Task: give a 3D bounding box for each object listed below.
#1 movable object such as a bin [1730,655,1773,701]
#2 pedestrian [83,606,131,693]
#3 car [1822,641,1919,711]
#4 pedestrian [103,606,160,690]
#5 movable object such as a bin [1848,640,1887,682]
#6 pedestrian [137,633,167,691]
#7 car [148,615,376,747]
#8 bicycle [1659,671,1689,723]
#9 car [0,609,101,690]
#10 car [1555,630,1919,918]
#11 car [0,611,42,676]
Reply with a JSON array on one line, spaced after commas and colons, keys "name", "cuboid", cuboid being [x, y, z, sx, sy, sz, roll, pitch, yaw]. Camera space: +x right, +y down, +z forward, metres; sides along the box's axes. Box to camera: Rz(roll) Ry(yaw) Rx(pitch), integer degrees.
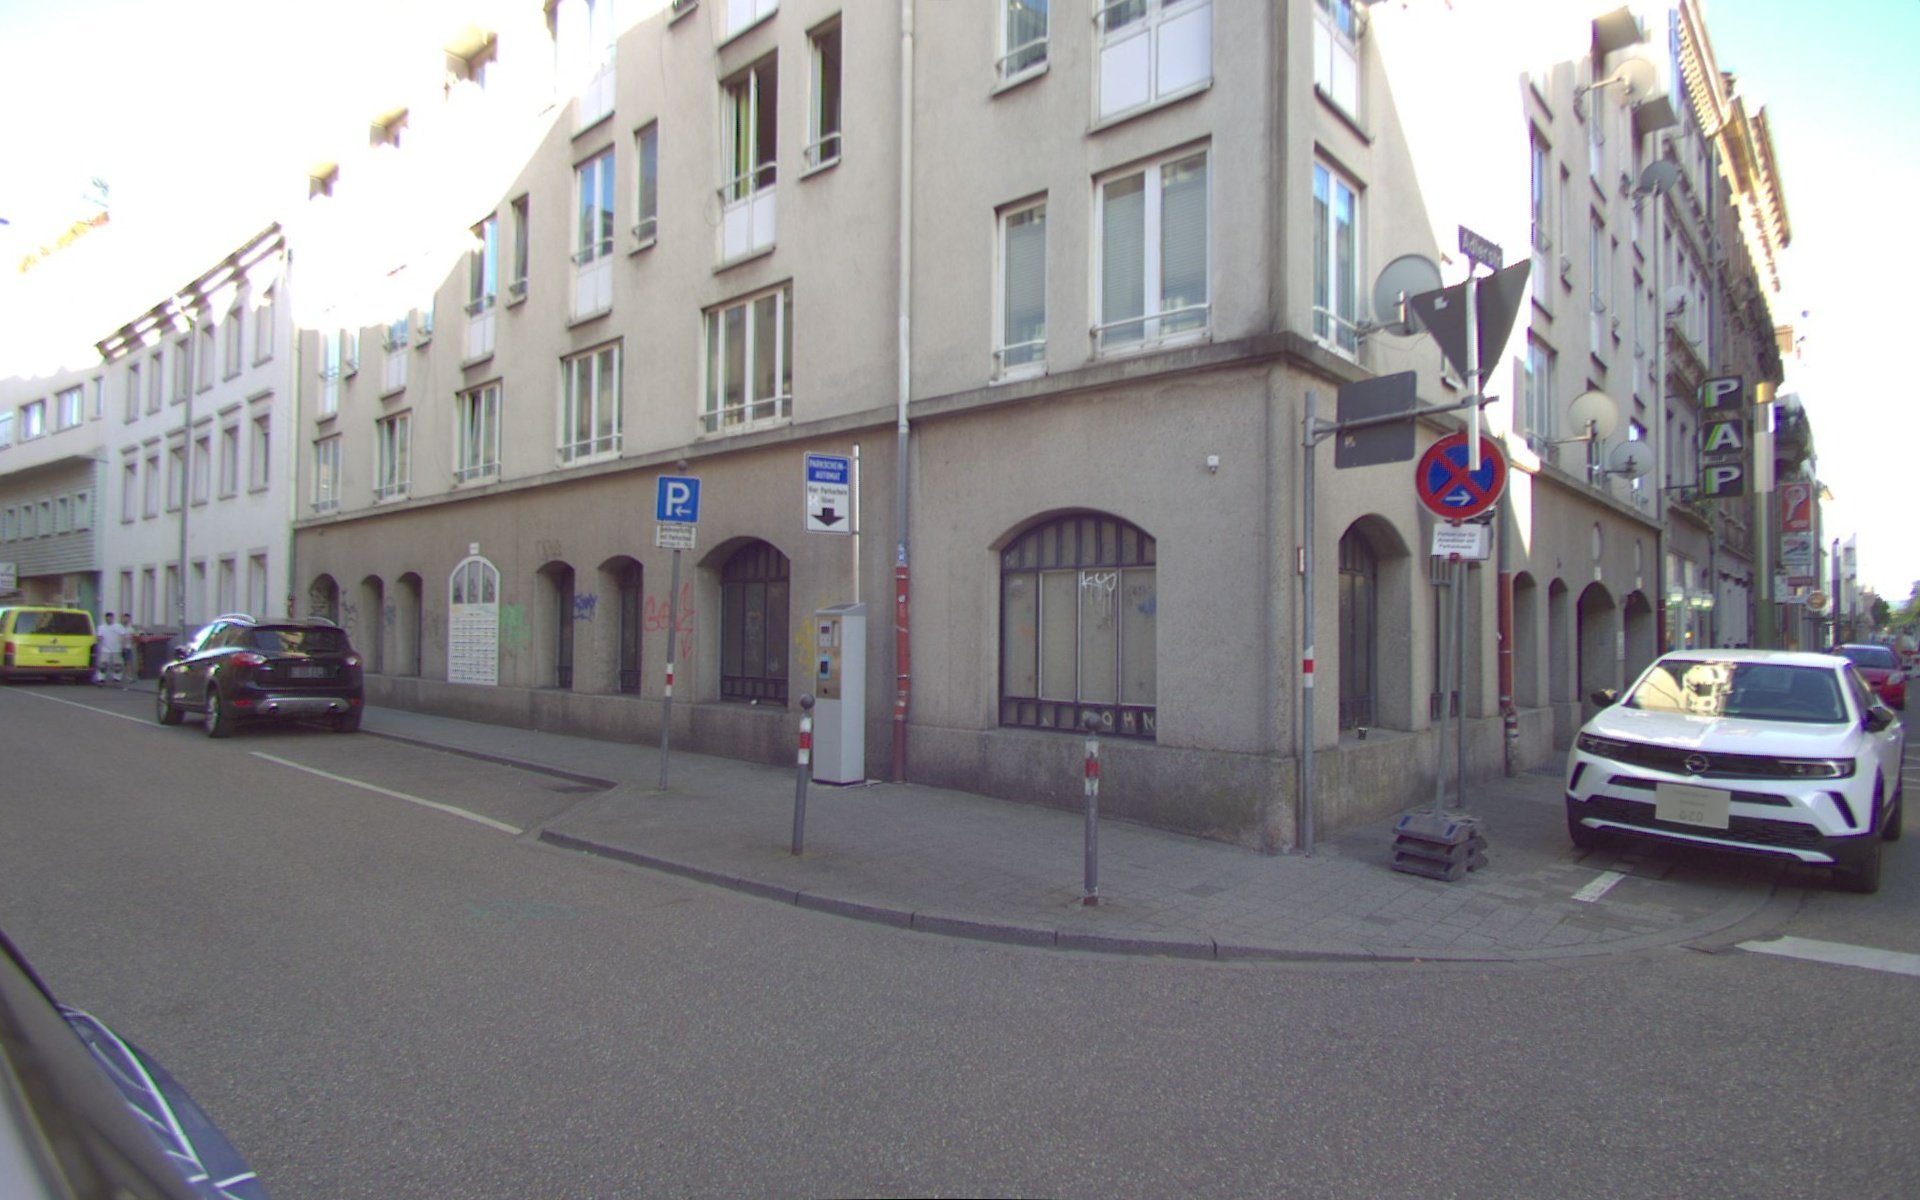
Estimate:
[{"name": "movable object such as a bin", "cuboid": [19.811, 1.944, 25.333, 0.836, 1.056, 0.745, -1, 0, 38]}, {"name": "pedestrian", "cuboid": [-20.411, 1.174, 24.209, 0.698, 2.029, 0.706, -1, -3, 39]}, {"name": "car", "cuboid": [22.816, 1.837, 25.344, 1.792, 1.537, 3.946, 0, -1, 40]}, {"name": "pedestrian", "cuboid": [-20.616, 1.192, 25.179, 0.698, 2.029, 0.925, -1, -3, 38]}, {"name": "movable object such as a bin", "cuboid": [35.437, 2.365, 39.527, 1.083, 1.555, 0.896, 0, -1, 40]}, {"name": "pedestrian", "cuboid": [-20.664, 1.581, 25.874, 0.548, 1.459, 0.583, 2, -3, -40]}, {"name": "car", "cuboid": [-10.565, 1.135, 15.233, 3.998, 1.717, 1.863, -1, -4, 42]}, {"name": "bicycle", "cuboid": [12.974, 1.750, 18.381, 1.049, 0.864, 0.219, -1, 0, -42]}, {"name": "car", "cuboid": [-23.460, 1.238, 25.464, 3.993, 1.888, 1.866, -1, -5, 37]}, {"name": "car", "cuboid": [6.146, 1.070, 7.731, 3.909, 1.605, 1.745, 3, -2, -43]}, {"name": "car", "cuboid": [-28.196, 1.214, 29.072, 3.993, 1.781, 1.866, -1, -5, 37]}]
